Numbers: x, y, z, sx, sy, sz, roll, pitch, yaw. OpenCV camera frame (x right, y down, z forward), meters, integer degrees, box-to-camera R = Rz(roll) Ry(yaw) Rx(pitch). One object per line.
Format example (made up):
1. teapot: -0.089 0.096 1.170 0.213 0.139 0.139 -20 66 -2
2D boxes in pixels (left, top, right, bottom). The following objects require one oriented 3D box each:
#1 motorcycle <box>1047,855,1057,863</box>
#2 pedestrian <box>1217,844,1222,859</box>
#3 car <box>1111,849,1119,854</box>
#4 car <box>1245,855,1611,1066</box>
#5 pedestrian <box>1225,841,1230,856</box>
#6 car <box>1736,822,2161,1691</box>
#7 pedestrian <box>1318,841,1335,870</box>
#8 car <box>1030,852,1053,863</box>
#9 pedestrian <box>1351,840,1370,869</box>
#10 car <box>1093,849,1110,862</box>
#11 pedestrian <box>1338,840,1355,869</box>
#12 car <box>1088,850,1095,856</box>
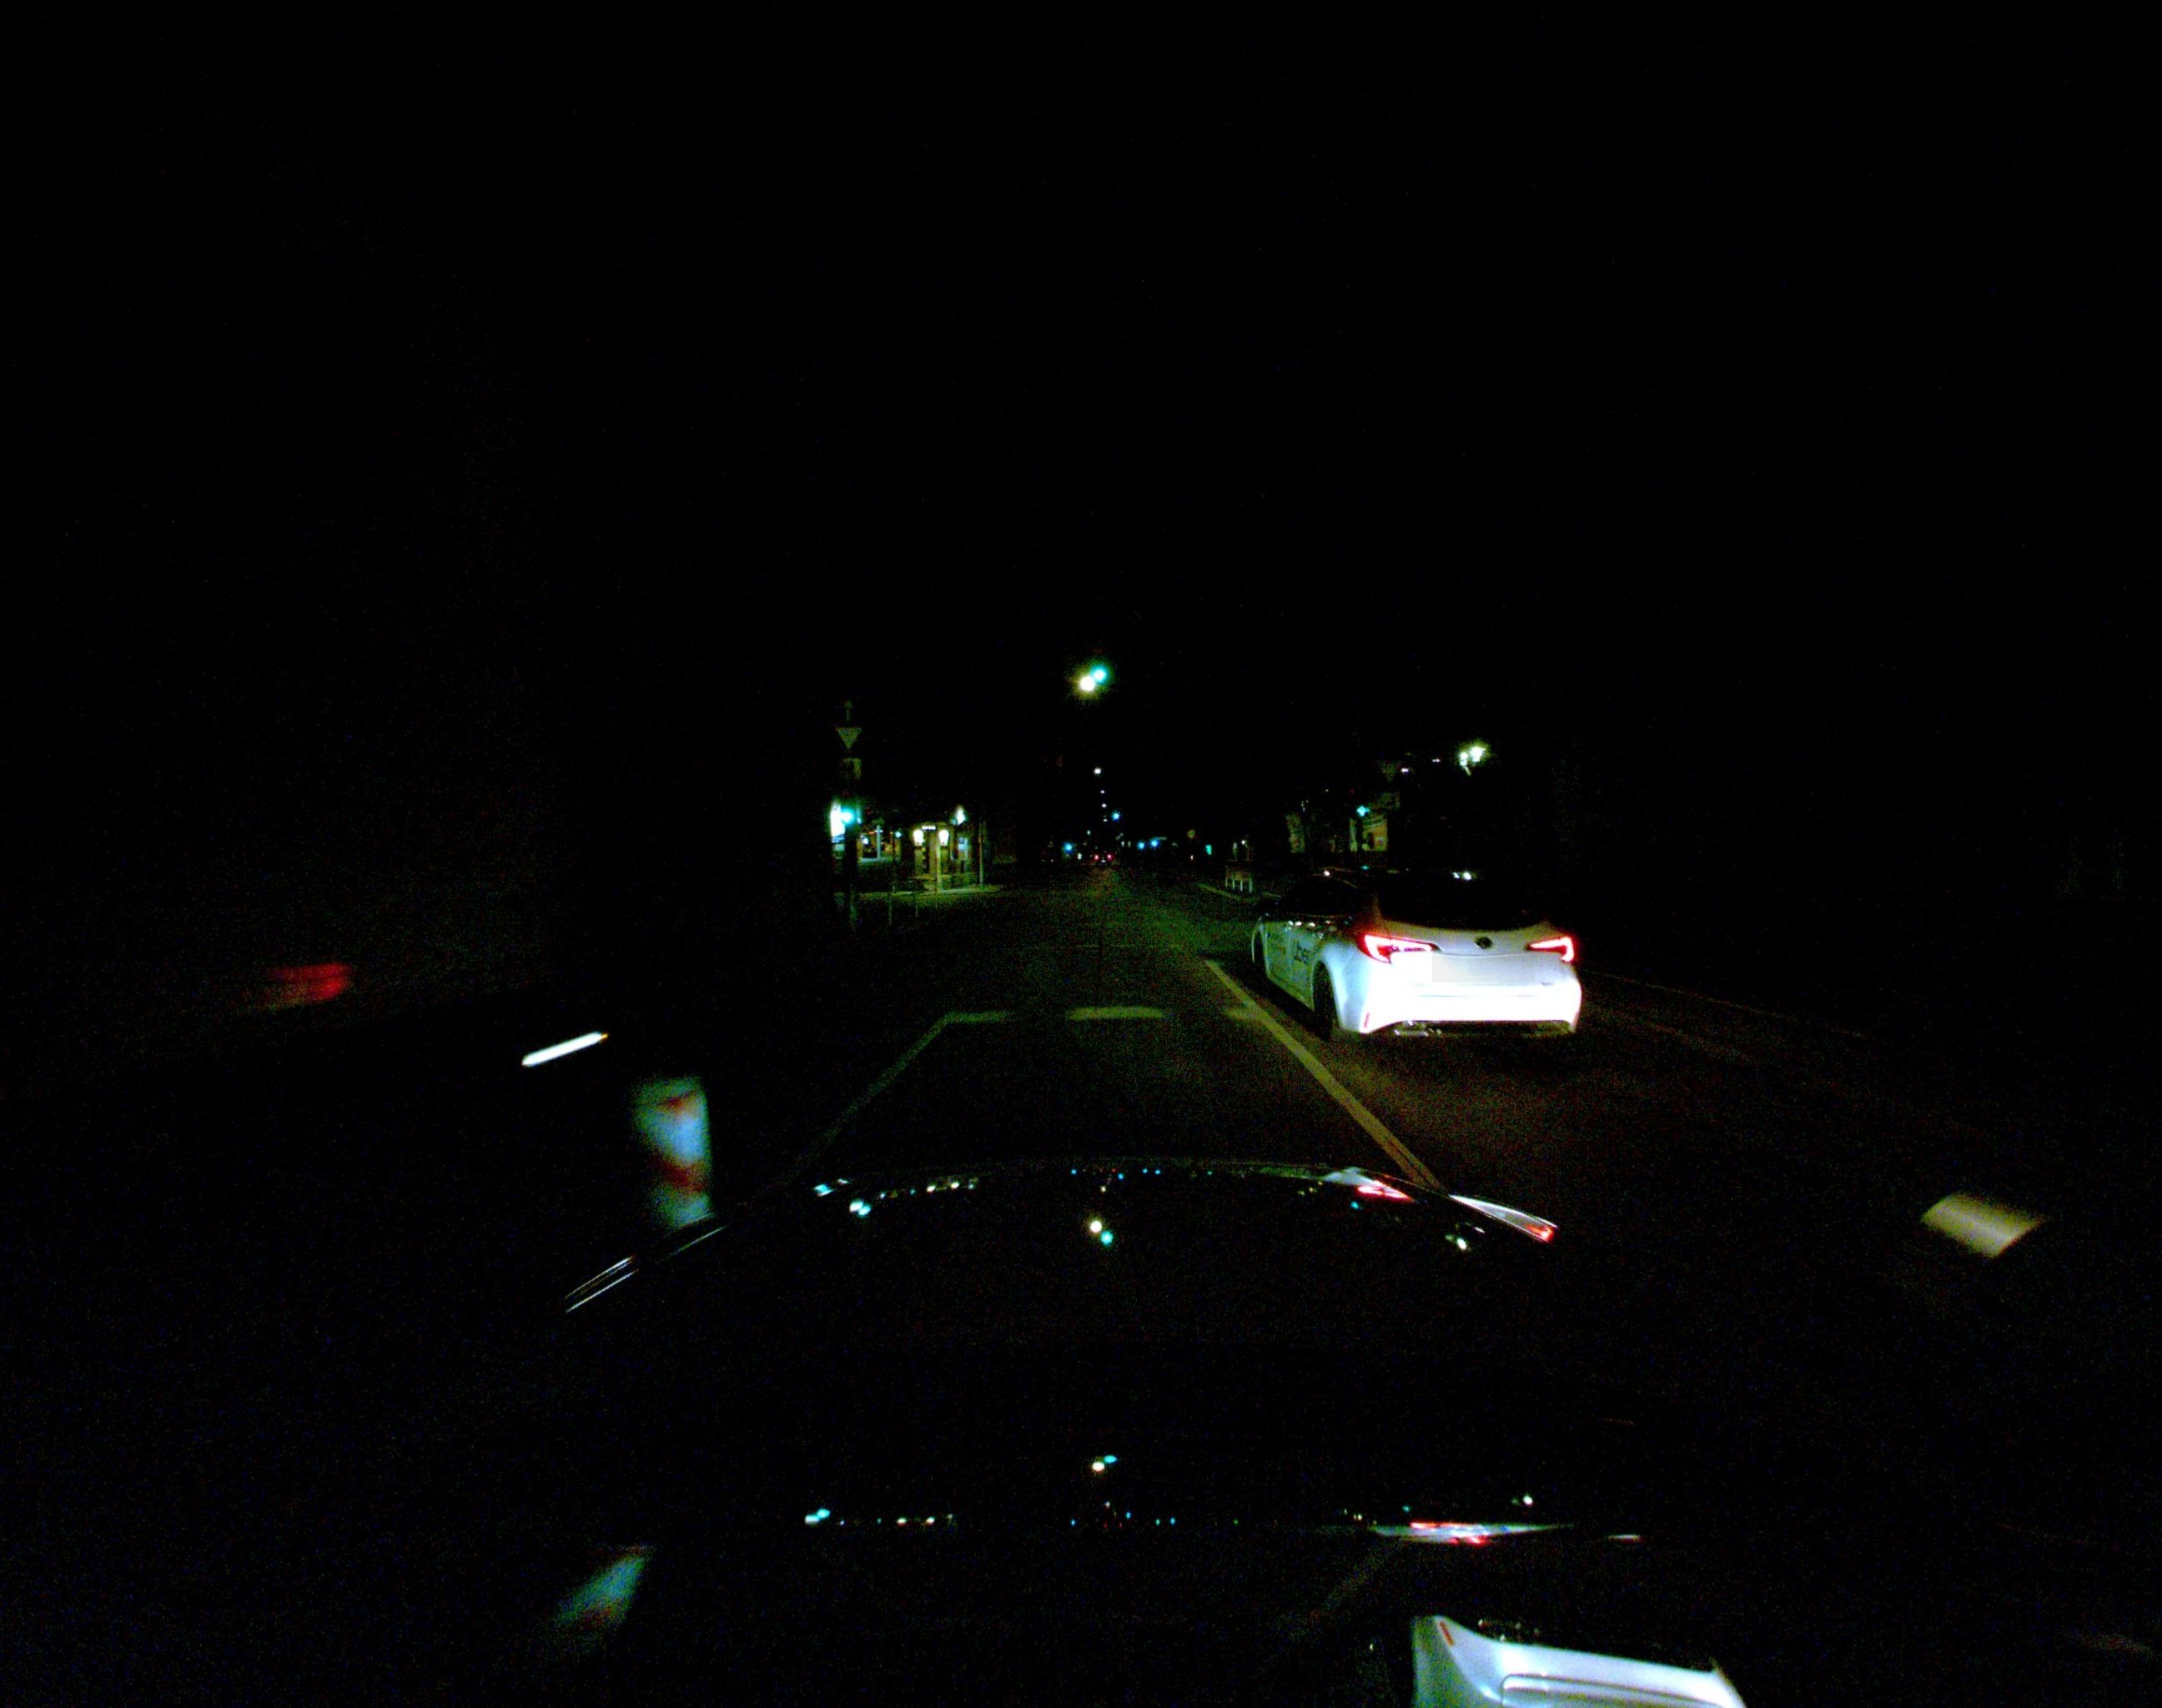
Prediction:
1. motorcycle: -4.304 0.727 121.573 0.783 1.204 2.435 -2 0 -17
2. pedestrian: 18.751 -0.283 110.182 0.529 2.013 0.670 -2 0 1
3. car: 9.692 -0.694 230.138 1.988 1.596 3.998 -2 0 -1
4. car: 2.812 0.739 7.706 1.723 1.435 4.211 0 0 0
5. pedestrian: 19.946 -0.734 110.758 0.486 2.013 0.551 -2 0 1
6. car: 2.649 0.695 0.338 1.631 1.494 4.001 0 0 1
7. pedestrian: 15.528 0.108 51.492 0.711 1.769 0.907 -2 0 1
8. car: -6.095 0.566 124.871 1.815 1.486 3.961 -2 0 -30
9. pedestrian: 17.760 0.046 51.756 0.897 1.769 0.907 -2 0 1
10. car: 2.543 0.194 102.340 1.987 1.640 3.999 -2 0 0
11. pedestrian: 16.741 0.037 51.323 0.736 1.769 0.907 -2 0 1
12. car: 2.796 -0.210 215.384 1.772 1.390 3.999 -2 0 0
